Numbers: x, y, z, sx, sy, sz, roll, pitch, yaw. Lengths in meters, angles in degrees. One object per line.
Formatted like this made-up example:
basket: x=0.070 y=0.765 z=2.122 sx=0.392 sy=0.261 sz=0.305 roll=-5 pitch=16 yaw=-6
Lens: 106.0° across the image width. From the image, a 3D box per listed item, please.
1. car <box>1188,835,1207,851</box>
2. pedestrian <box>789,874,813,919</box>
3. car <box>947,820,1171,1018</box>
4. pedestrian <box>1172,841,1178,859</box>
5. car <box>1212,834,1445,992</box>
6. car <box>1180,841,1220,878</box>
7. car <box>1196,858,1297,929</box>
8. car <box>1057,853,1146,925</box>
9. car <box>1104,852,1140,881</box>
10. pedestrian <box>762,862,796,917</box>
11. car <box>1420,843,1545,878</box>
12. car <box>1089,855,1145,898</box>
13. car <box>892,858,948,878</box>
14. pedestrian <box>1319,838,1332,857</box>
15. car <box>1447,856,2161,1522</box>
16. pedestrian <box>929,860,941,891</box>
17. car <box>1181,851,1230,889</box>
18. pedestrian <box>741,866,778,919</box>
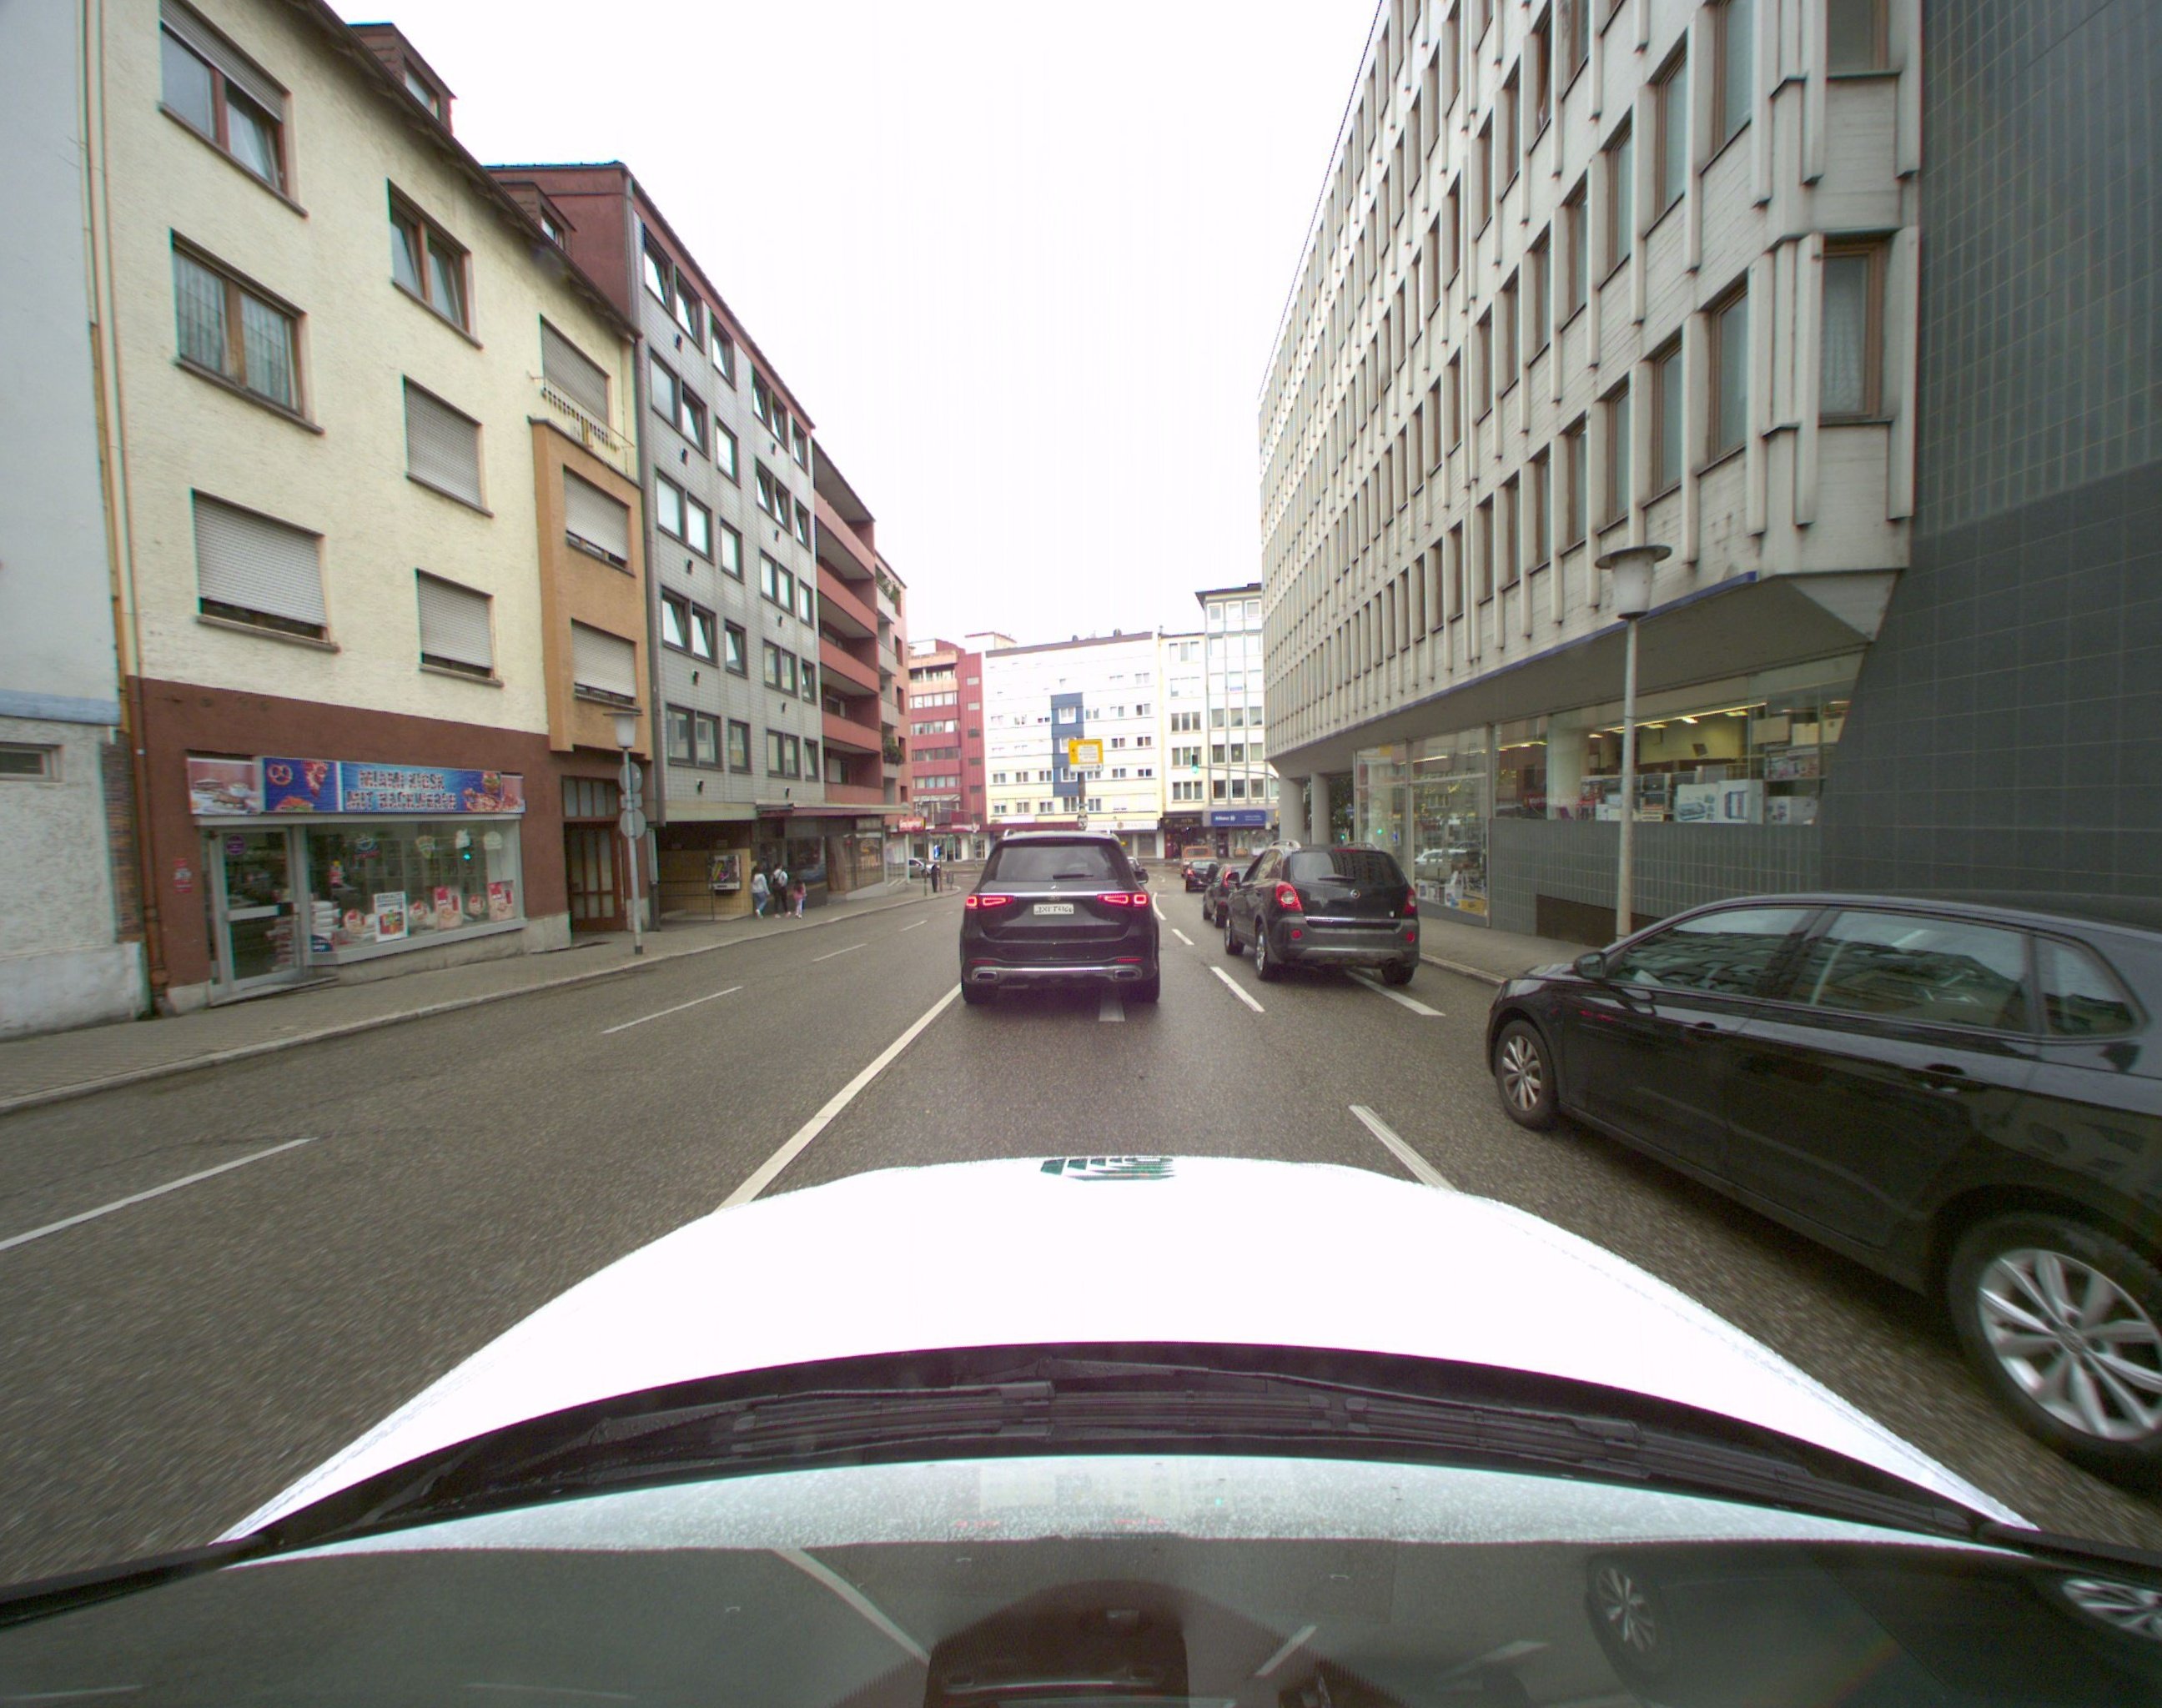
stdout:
car: x=12.980 y=-1.248 z=90.459 sx=1.786 sy=1.670 sz=4.012 roll=-2 pitch=0 yaw=11
pedestrian: x=-8.613 y=1.297 z=25.058 sx=0.533 sy=1.323 sz=0.722 roll=1 pitch=0 yaw=-7
car: x=-0.183 y=0.593 z=9.786 sx=2.032 sy=1.799 sz=4.662 roll=0 pitch=0 yaw=0
pedestrian: x=9.040 y=-0.391 z=78.299 sx=0.561 sy=1.688 sz=0.758 roll=-2 pitch=6 yaw=8
car: x=3.097 y=0.645 z=11.245 sx=1.891 sy=1.695 sz=4.506 roll=1 pitch=0 yaw=1
car: x=7.410 y=0.330 z=51.174 sx=2.231 sy=2.228 sz=5.437 roll=0 pitch=0 yaw=6
car: x=3.772 y=0.845 z=19.167 sx=1.759 sy=1.397 sz=4.004 roll=2 pitch=0 yaw=4
car: x=0.452 y=0.735 z=19.333 sx=1.867 sy=1.495 sz=4.400 roll=0 pitch=0 yaw=0
car: x=2.261 y=0.729 z=45.945 sx=1.917 sy=1.515 sz=4.664 roll=1 pitch=-1 yaw=2
pedestrian: x=-9.322 y=1.087 z=25.181 sx=0.826 sy=1.689 sz=0.722 roll=1 pitch=0 yaw=-7
car: x=18.301 y=0.314 z=37.260 sx=4.790 sy=1.494 sz=1.868 roll=-2 pitch=0 yaw=43
car: x=1.390 y=0.830 z=31.667 sx=1.986 sy=1.486 sz=4.239 roll=-2 pitch=0 yaw=2
car: x=-13.106 y=1.114 z=66.285 sx=4.129 sy=1.592 sz=1.748 roll=0 pitch=0 yaw=17
pedestrian: x=22.286 y=-0.610 z=74.310 sx=1.023 sy=1.688 sz=0.833 roll=-2 pitch=6 yaw=10
car: x=3.293 y=0.778 z=3.453 sx=1.683 sy=1.477 sz=4.000 roll=1 pitch=0 yaw=0
pedestrian: x=-8.174 y=1.214 z=45.696 sx=0.552 sy=1.697 sz=0.623 roll=-2 pitch=0 yaw=-2
car: x=5.598 y=0.712 z=37.027 sx=1.815 sy=1.658 sz=4.499 roll=0 pitch=-1 yaw=4
pedestrian: x=-9.625 y=1.145 z=24.404 sx=0.826 sy=1.561 sz=0.722 roll=1 pitch=0 yaw=-7
